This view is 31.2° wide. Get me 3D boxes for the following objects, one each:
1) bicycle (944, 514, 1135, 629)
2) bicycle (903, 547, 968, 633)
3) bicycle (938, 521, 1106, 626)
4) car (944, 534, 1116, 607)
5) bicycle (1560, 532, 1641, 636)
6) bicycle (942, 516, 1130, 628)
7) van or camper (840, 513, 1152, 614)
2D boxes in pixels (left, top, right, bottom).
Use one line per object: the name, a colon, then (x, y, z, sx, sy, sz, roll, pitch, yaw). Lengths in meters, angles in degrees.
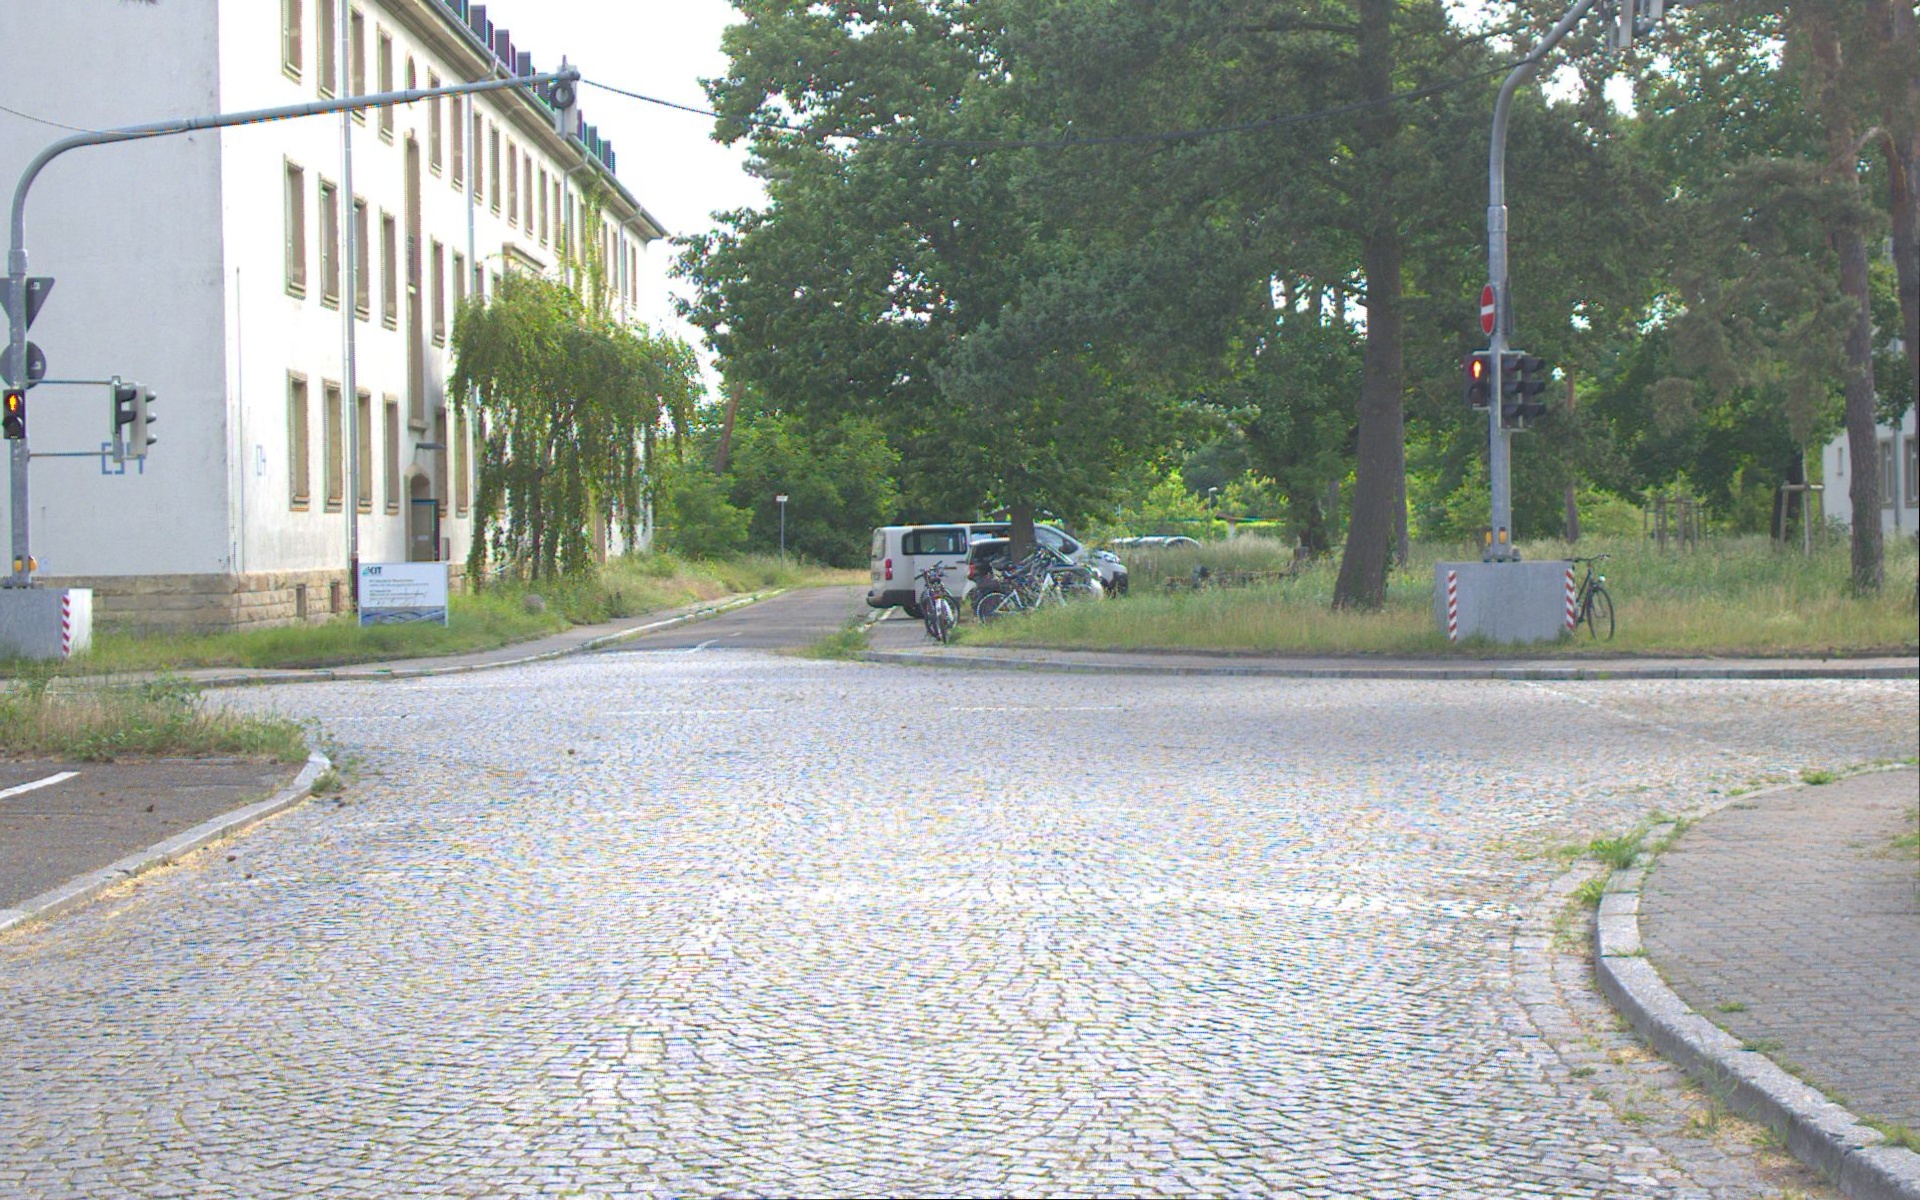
bicycle: (1.190, -0.446, 52.189, 2.775, 1.688, 1.120, -1, 1, -5)
bicycle: (-0.328, -0.154, 47.932, 0.725, 1.104, 2.462, -5, 1, 2)
bicycle: (1.050, -0.449, 58.290, 2.776, 1.688, 1.120, 2, 1, 2)
car: (1.339, -0.581, 66.582, 3.137, 1.349, 1.620, -1, 1, -5)
bicycle: (7.494, -0.196, 40.310, 0.724, 1.165, 2.736, 1, 1, 7)
bicycle: (1.169, -0.442, 53.383, 2.775, 1.688, 1.120, -1, 1, -7)
van or camper: (0.723, -0.758, 70.165, 6.030, 1.942, 2.001, -1, 1, -13)
